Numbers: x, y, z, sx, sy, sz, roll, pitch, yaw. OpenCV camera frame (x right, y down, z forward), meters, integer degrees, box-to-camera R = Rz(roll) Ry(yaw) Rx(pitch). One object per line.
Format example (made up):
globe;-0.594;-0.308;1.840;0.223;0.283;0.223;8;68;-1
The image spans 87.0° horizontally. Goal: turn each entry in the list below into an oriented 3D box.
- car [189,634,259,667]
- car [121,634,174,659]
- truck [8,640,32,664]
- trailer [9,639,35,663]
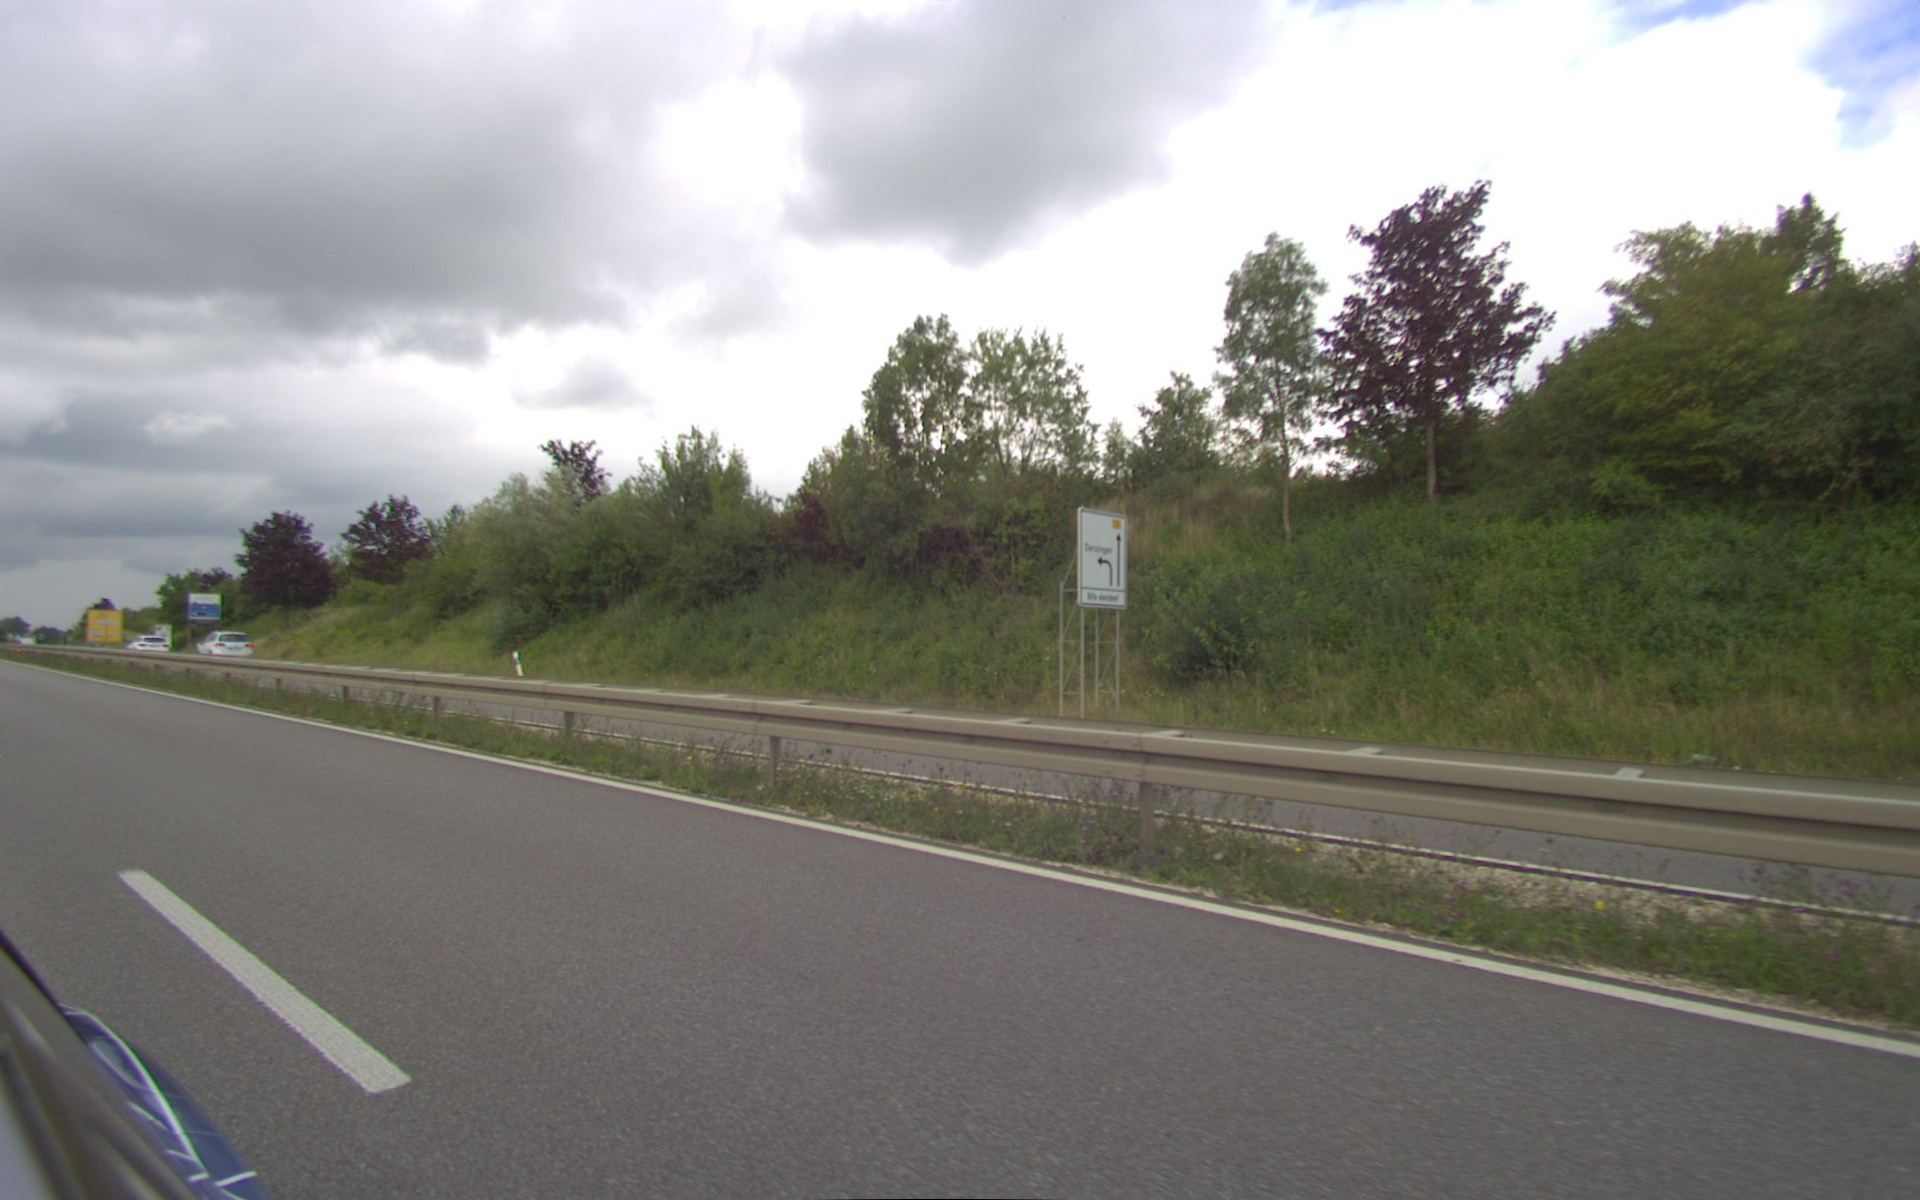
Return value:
car;-37.200;2.569;51.122;4.461;1.529;1.900;-4;-4;41
car;-53.740;3.114;66.907;4.987;1.529;1.972;-4;-5;42
truck;-167.467;9.259;180.281;2.770;4.028;5.289;2;-5;-45
trailer;-162.054;8.866;174.835;2.743;3.977;12.991;2;-5;-45
